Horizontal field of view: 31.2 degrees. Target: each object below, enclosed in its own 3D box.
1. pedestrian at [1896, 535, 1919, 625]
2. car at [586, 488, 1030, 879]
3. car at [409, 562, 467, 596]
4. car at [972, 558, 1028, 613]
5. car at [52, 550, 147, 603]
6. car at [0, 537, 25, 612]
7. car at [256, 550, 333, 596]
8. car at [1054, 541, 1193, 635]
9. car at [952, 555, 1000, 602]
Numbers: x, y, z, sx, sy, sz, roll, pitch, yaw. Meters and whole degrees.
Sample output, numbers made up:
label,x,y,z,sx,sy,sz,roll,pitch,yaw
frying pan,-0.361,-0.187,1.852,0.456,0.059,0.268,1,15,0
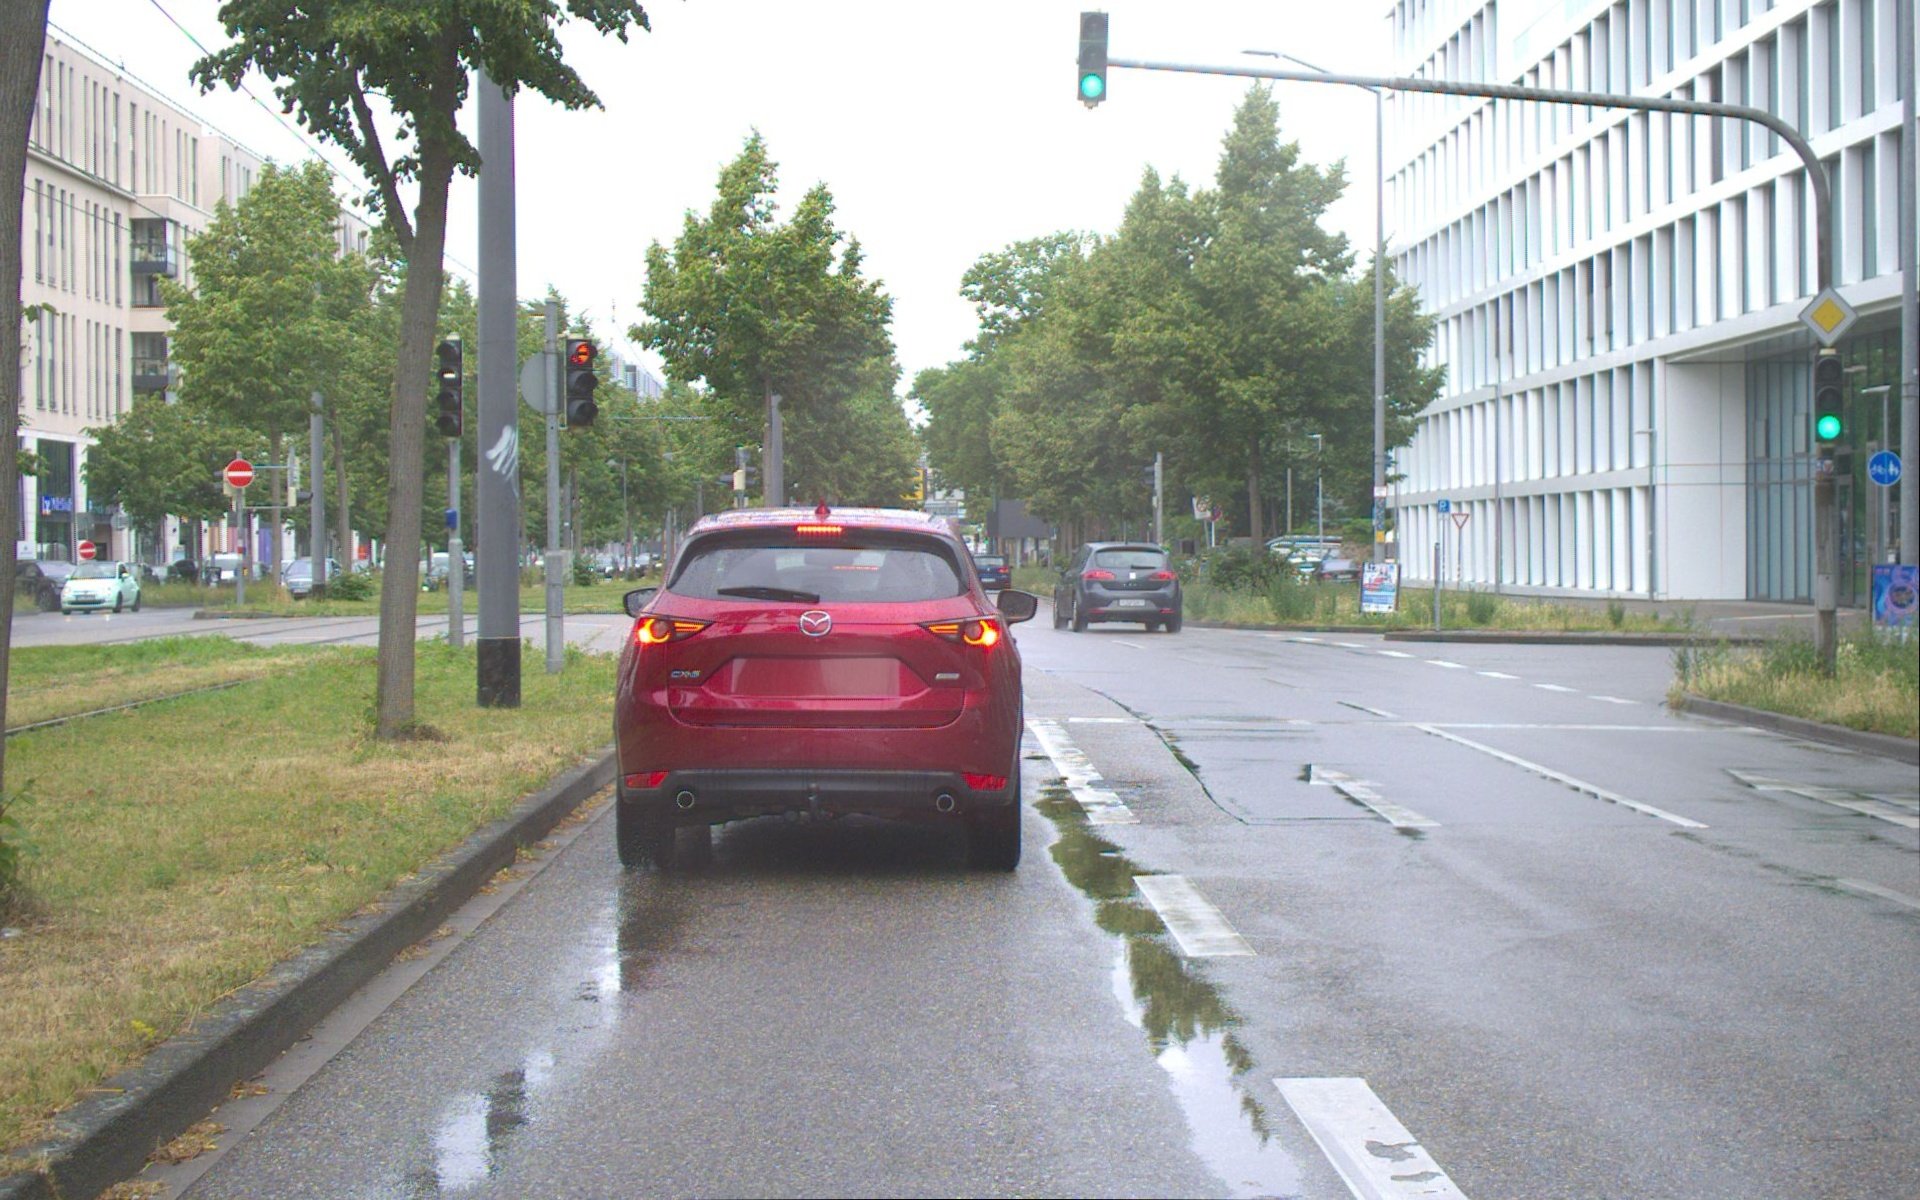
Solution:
label,x,y,z,sx,sy,sz,roll,pitch,yaw
pedestrian,18.185,-0.384,65.144,0.677,1.701,0.784,0,1,-1
car,-0.698,0.321,16.749,1.898,1.671,4.000,0,1,-1
car,-23.790,-0.978,156.757,1.993,1.479,4.446,0,1,-1
car,1.495,-0.566,129.367,1.993,2.007,4.000,0,1,-1
car,-24.532,-0.688,98.140,1.993,1.479,4.446,0,1,-6
car,-19.981,-0.494,67.741,1.993,1.479,4.446,0,1,-1
car,-22.414,-0.922,115.904,1.993,1.479,4.446,0,1,-4
car,2.618,-0.222,55.948,1.743,1.460,3.782,0,1,-5
car,0.691,-0.948,150.751,1.993,2.007,4.000,0,1,-1
